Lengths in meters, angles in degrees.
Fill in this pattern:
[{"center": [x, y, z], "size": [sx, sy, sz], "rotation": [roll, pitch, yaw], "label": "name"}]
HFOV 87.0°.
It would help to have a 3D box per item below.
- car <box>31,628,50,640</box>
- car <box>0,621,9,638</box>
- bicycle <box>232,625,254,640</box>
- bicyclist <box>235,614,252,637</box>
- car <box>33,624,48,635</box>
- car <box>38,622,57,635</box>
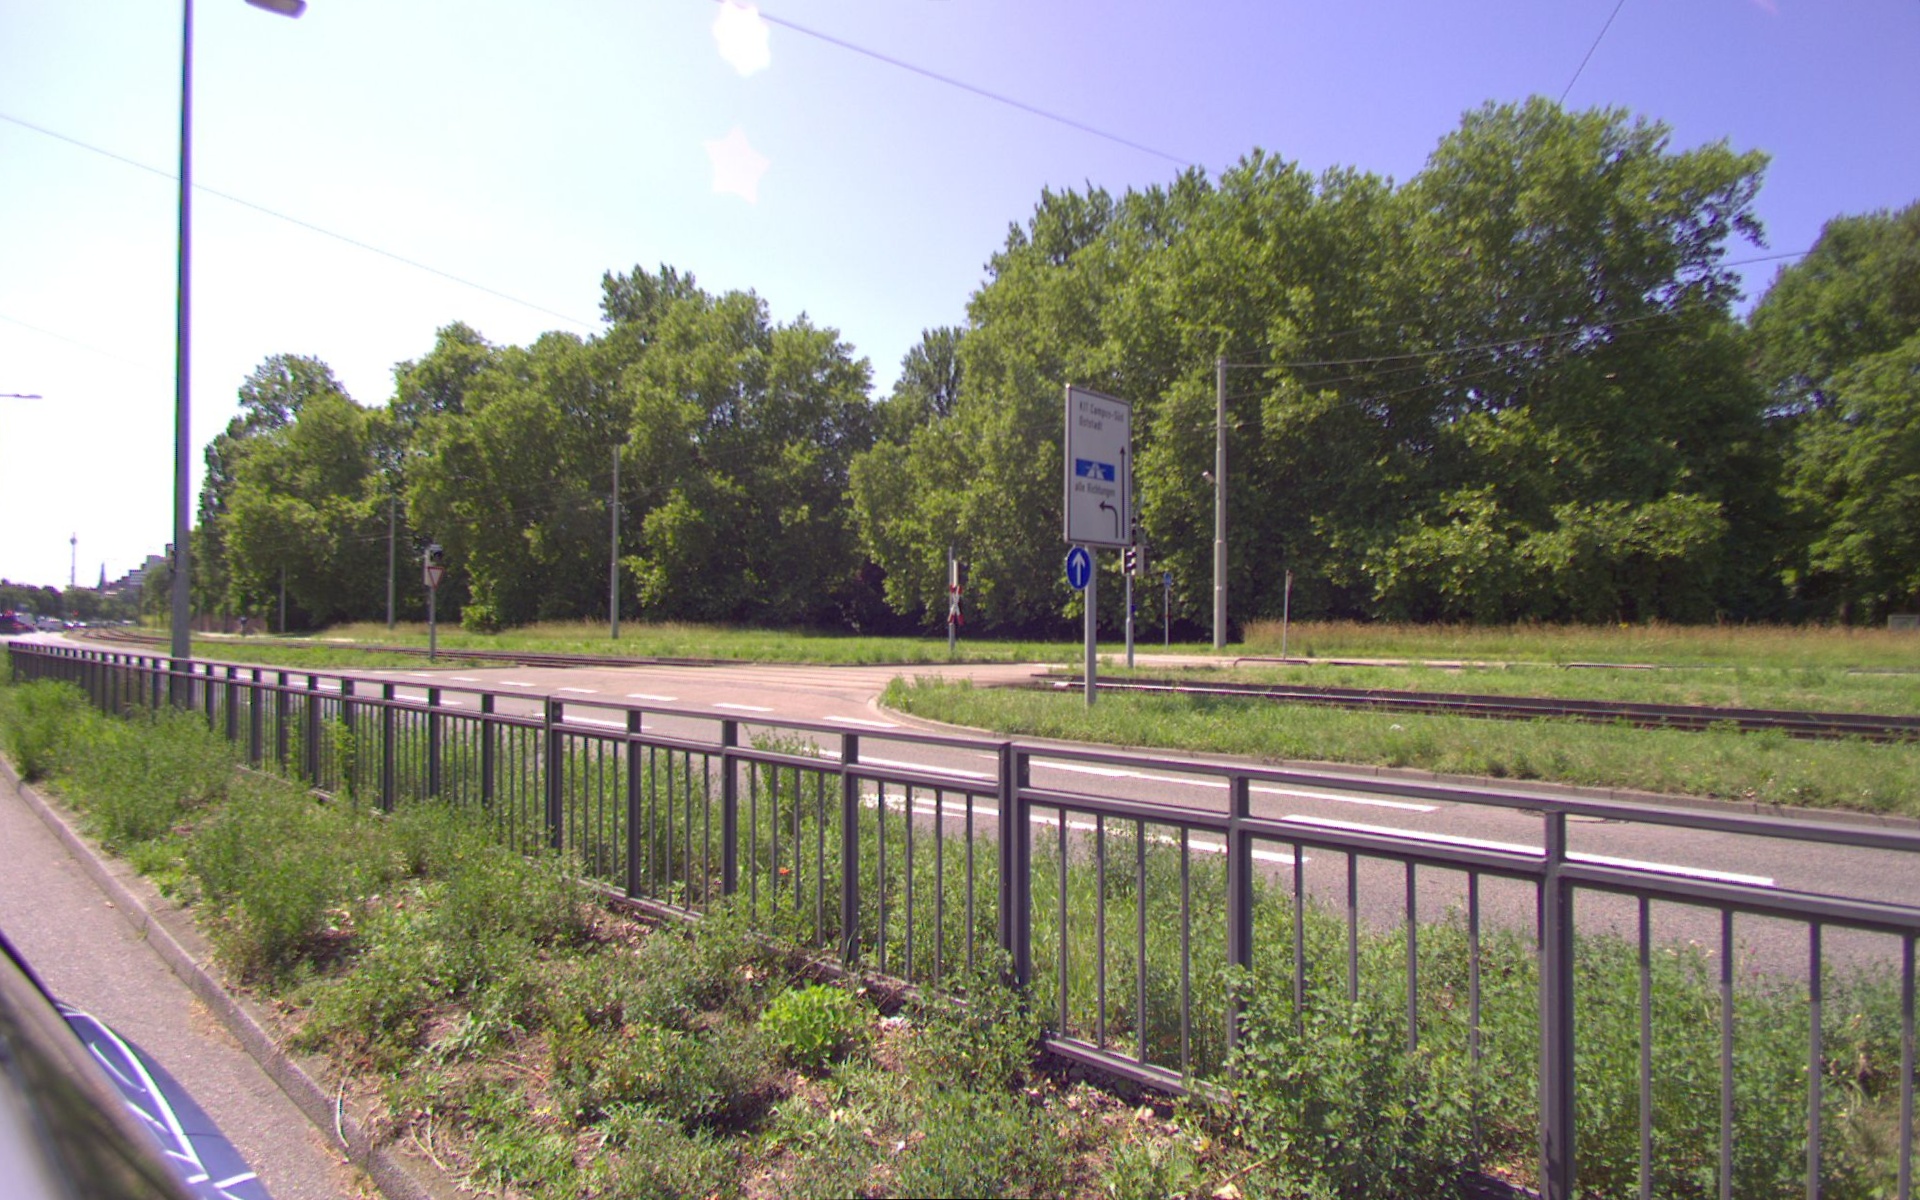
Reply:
[{"center": [-141.670, 5.258, 155.897], "size": [1.970, 1.871, 4.003], "rotation": [1, -2, -44], "label": "car"}, {"center": [-107.859, 3.285, 113.255], "size": [1.970, 1.871, 4.004], "rotation": [1, -2, -43], "label": "car"}, {"center": [-57.700, 2.623, 81.440], "size": [2.785, 1.171, 0.851], "rotation": [-1, -2, 41], "label": "bicycle"}, {"center": [-57.646, 2.045, 81.437], "size": [1.117, 1.820, 0.851], "rotation": [-1, -2, 41], "label": "bicyclist"}, {"center": [-167.163, 5.331, 183.997], "size": [1.970, 2.029, 4.004], "rotation": [-1, 0, -43], "label": "car"}, {"center": [-136.785, 4.302, 151.731], "size": [1.970, 1.871, 4.003], "rotation": [1, -2, -44], "label": "car"}]
